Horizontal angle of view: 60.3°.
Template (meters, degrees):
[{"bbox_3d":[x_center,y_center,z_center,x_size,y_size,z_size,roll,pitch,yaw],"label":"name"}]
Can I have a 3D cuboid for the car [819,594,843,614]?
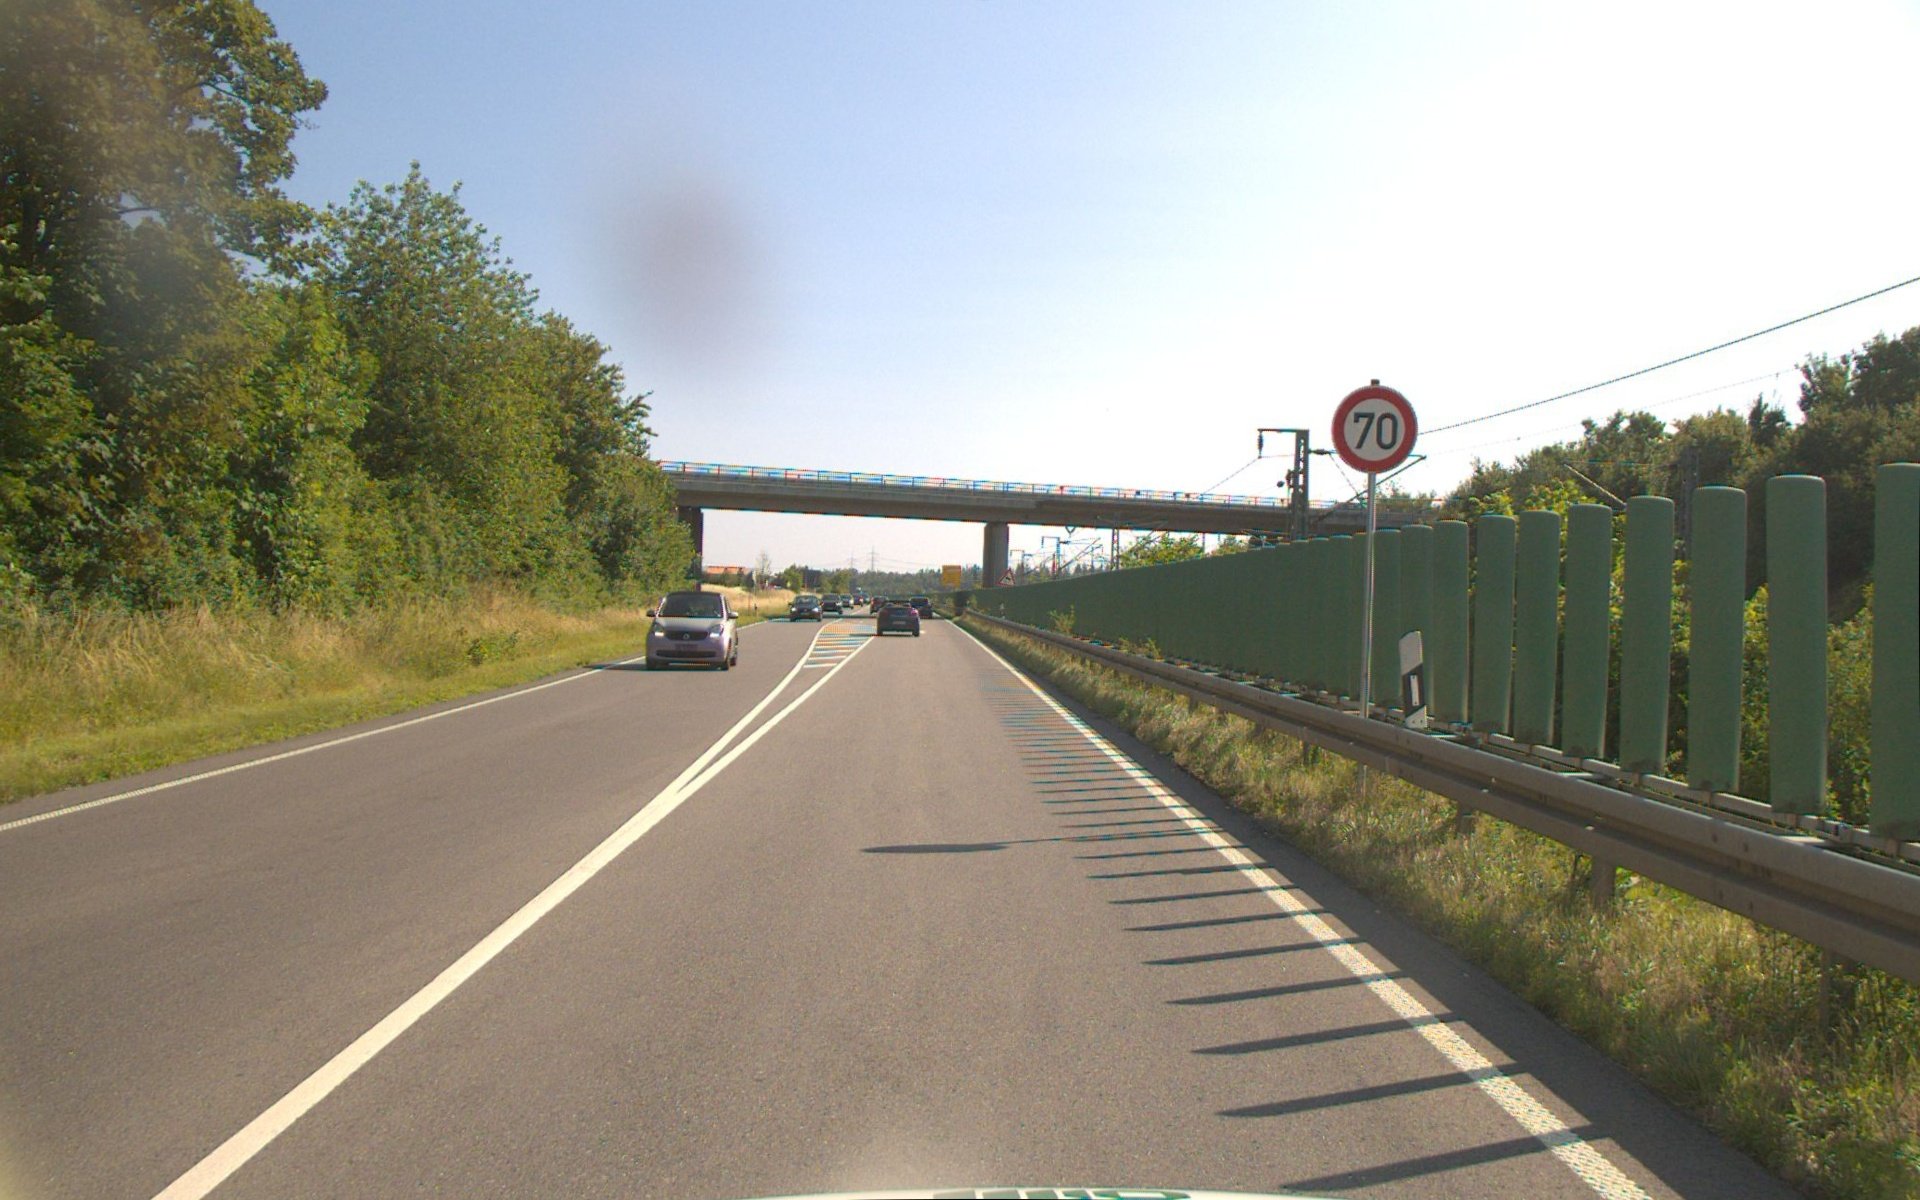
[{"bbox_3d":[-10.377,0.293,133.465,1.884,1.621,4.426,0,0,-4],"label":"car"}]

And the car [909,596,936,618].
[{"bbox_3d":[-2.602,0.495,113.966,1.857,1.443,3.998,1,0,-2],"label":"car"}]

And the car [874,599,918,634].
[{"bbox_3d":[-2.455,0.631,64.081,1.630,1.283,3.998,1,0,-2],"label":"car"}]

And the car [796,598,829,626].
[{"bbox_3d":[-8.368,0.659,93.779,1.715,1.507,3.997,1,0,-3],"label":"car"}]

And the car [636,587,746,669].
[{"bbox_3d":[-5.460,0.533,33.972,1.820,1.587,3.997,0,0,-3],"label":"car"}]

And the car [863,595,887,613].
[{"bbox_3d":[-7.075,0.350,137.519,1.857,1.443,3.998,1,0,-2],"label":"car"}]

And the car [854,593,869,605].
[{"bbox_3d":[-13.510,-0.098,227.146,1.857,1.659,3.998,1,0,-2],"label":"car"}]

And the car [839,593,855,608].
[{"bbox_3d":[-12.517,0.058,183.322,1.809,1.659,3.997,1,0,-3],"label":"car"}]
